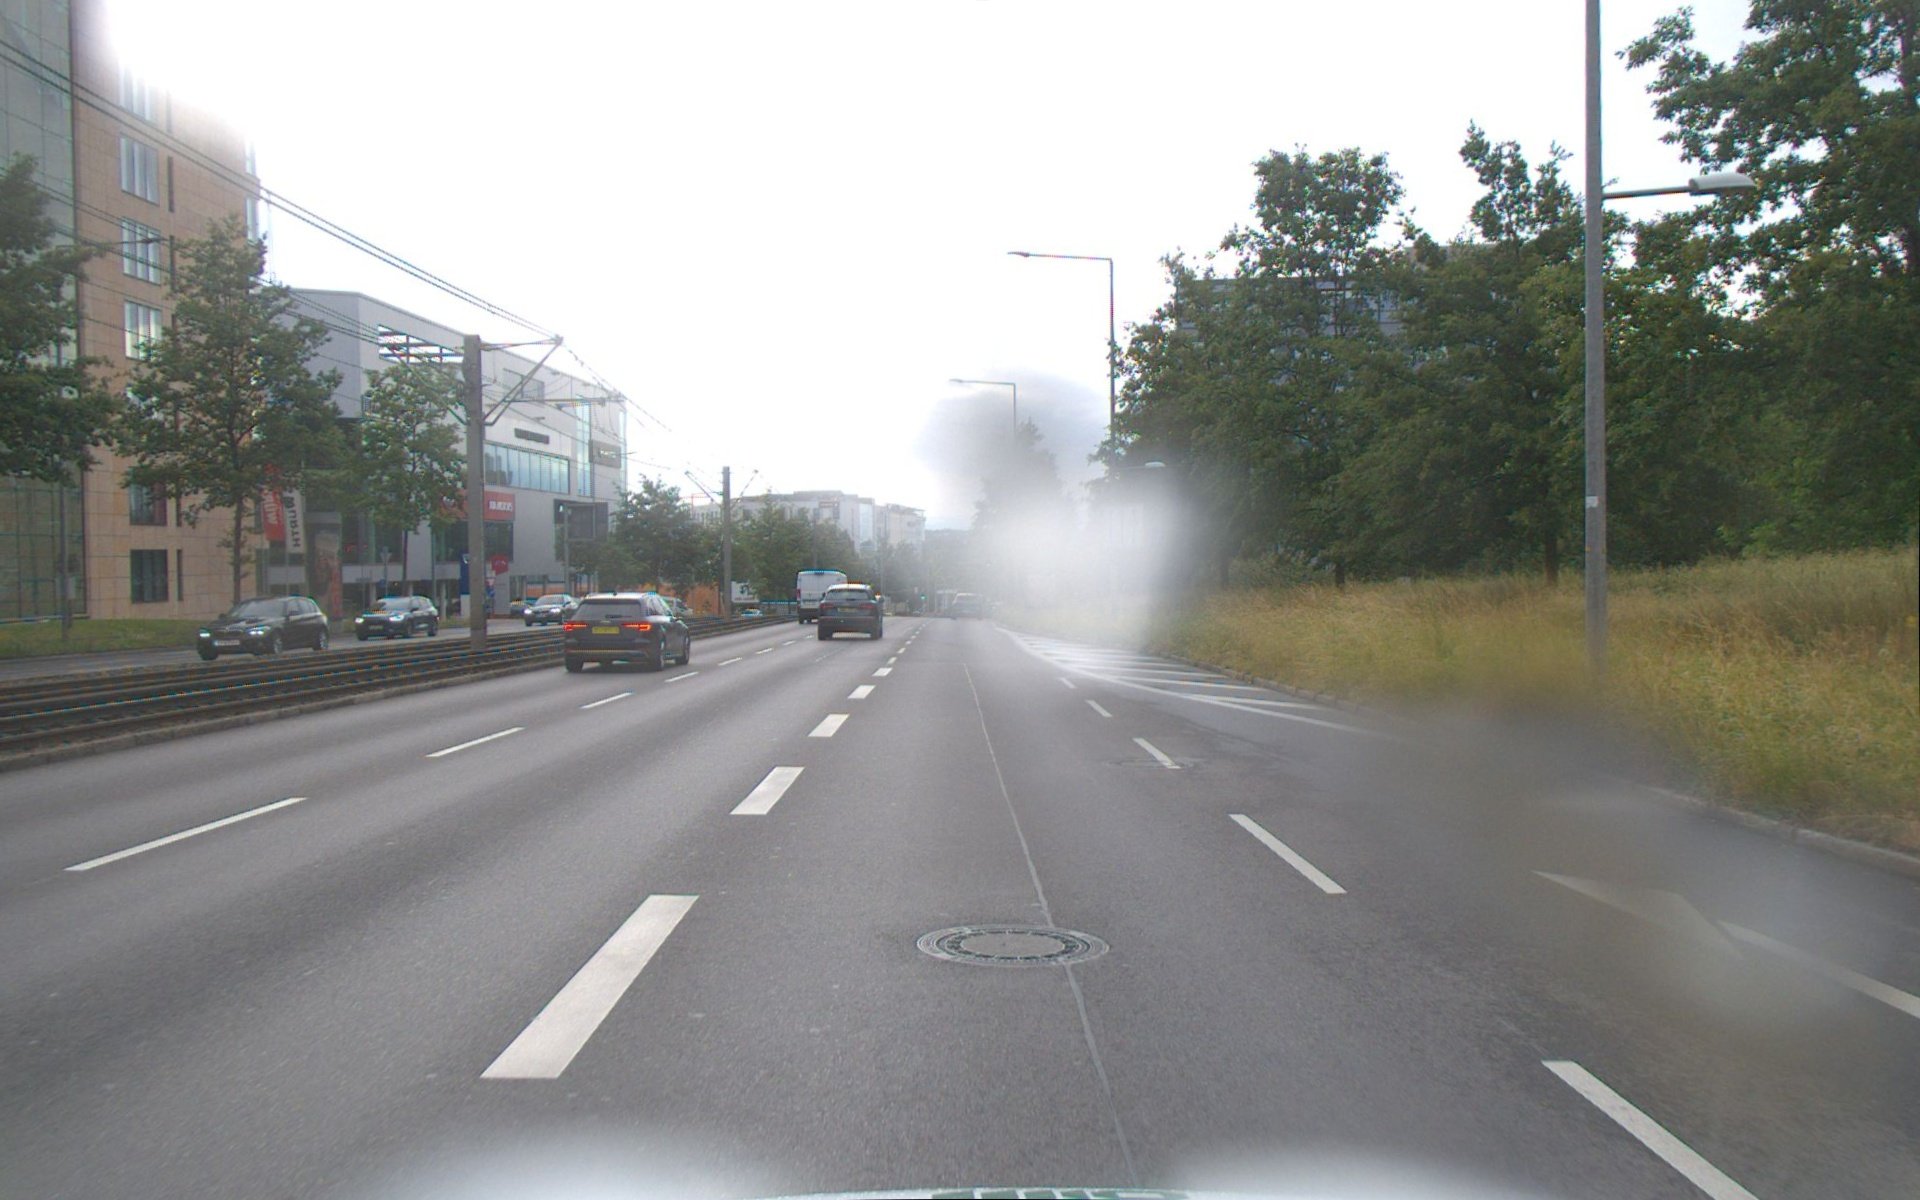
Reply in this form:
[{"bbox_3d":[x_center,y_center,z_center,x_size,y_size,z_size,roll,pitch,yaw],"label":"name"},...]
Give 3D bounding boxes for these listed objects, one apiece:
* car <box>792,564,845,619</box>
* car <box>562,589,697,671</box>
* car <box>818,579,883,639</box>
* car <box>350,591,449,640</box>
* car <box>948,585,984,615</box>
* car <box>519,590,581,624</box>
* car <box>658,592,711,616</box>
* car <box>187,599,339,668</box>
[{"bbox_3d":[-6.290,-0.370,74.031,2.223,2.325,4.756,1,0,-3],"label":"car"},{"bbox_3d":[-6.220,0.513,31.623,1.750,1.438,4.804,1,0,-2],"label":"car"},{"bbox_3d":[-3.346,0.250,50.745,1.884,1.740,4.095,1,0,-4],"label":"car"},{"bbox_3d":[-19.706,0.512,58.353,1.803,1.511,4.653,-3,1,0],"label":"car"},{"bbox_3d":[0.300,-0.013,92.885,1.754,1.619,3.997,-1,0,-4],"label":"car"},{"bbox_3d":[-19.939,0.318,80.571,1.803,1.511,4.653,-3,1,0],"label":"car"},{"bbox_3d":[-28.615,0.463,171.703,5.199,2.353,2.018,1,-2,-5],"label":"car"},{"bbox_3d":[-16.507,0.809,39.398,1.735,1.528,4.200,1,-1,2],"label":"car"}]
